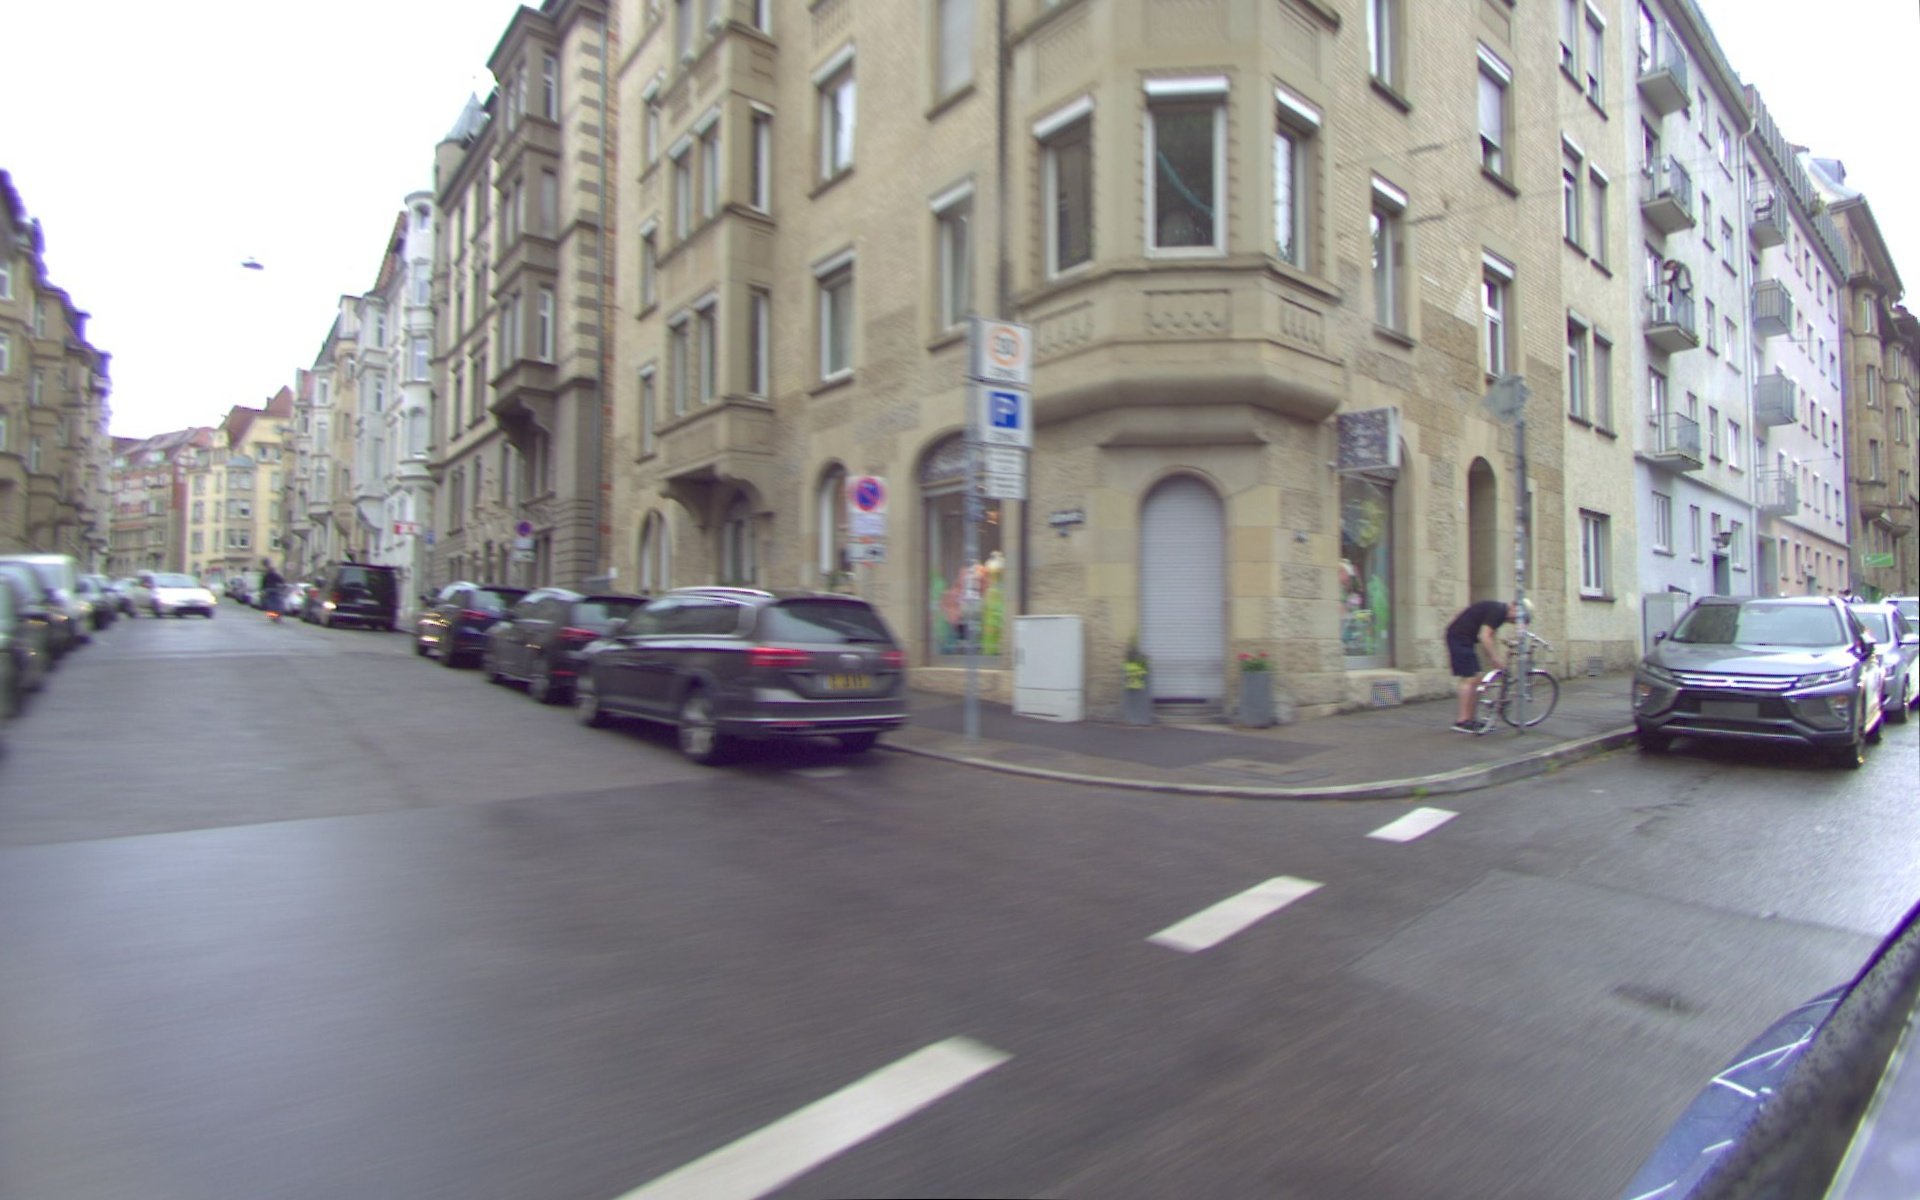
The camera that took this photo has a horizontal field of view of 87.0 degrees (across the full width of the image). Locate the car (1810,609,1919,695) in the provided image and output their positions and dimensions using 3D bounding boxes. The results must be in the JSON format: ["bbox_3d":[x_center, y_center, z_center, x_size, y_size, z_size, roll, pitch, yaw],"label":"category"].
[{"bbox_3d":[16.510,0.840,17.863,4.385,1.364,1.719,0,-2,-43],"label":"car"}]

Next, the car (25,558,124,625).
[{"bbox_3d":[-26.282,-0.195,30.177,1.877,1.724,4.310,0,-3,-37],"label":"car"}]

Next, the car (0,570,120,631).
[{"bbox_3d":[-23.042,-0.021,26.036,1.963,1.437,4.312,0,1,-37],"label":"car"}]

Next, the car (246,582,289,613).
[{"bbox_3d":[-40.009,-0.108,58.436,1.720,1.714,3.994,0,-1,-40],"label":"car"}]

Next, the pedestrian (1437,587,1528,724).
[{"bbox_3d":[5.540,0.562,10.736,0.631,1.387,0.671,0,-1,-42],"label":"pedestrian"}]

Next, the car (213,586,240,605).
[{"bbox_3d":[-65.746,-0.396,90.721,1.720,1.714,3.994,0,-1,-40],"label":"car"}]

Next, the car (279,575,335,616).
[{"bbox_3d":[-28.872,-0.176,44.689,1.719,1.714,3.996,0,-1,-38],"label":"car"}]

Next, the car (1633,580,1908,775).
[{"bbox_3d":[8.847,0.703,10.902,4.261,1.690,1.767,1,-2,-44],"label":"car"}]

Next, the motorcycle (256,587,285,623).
[{"bbox_3d":[-22.060,0.168,32.418,0.631,1.112,2.291,0,-1,-31],"label":"motorcycle"}]

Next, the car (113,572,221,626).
[{"bbox_3d":[-26.867,-0.028,34.268,3.974,1.728,1.851,-1,-1,36],"label":"car"}]

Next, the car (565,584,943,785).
[{"bbox_3d":[-2.243,0.620,9.932,1.830,1.503,4.462,1,0,-38],"label":"car"}]

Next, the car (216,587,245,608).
[{"bbox_3d":[-62.509,-0.183,86.735,1.720,1.714,3.994,0,-1,-40],"label":"car"}]

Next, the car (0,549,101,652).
[{"bbox_3d":[-17.312,0.008,18.609,1.964,1.700,4.311,-4,3,-37],"label":"car"}]

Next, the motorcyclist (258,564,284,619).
[{"bbox_3d":[-22.046,-0.251,32.386,0.631,1.731,0.934,0,-1,-31],"label":"motorcyclist"}]

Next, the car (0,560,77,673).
[{"bbox_3d":[-14.305,0.213,14.838,1.744,1.501,4.289,-2,2,-38],"label":"car"}]

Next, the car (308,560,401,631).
[{"bbox_3d":[-18.900,-0.124,31.497,1.963,2.039,4.324,0,-1,-38],"label":"car"}]

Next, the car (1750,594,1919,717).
[{"bbox_3d":[13.018,0.726,14.732,3.930,1.549,1.695,0,-1,-42],"label":"car"}]

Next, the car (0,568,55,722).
[{"bbox_3d":[-10.992,0.379,10.849,1.745,1.438,4.288,1,1,-40],"label":"car"}]

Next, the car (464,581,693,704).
[{"bbox_3d":[-5.464,0.485,14.175,1.830,1.461,4.138,1,0,-38],"label":"car"}]

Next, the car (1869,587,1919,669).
[{"bbox_3d":[22.476,0.618,23.212,4.387,1.773,1.831,1,-1,-40],"label":"car"}]

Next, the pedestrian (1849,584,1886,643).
[{"bbox_3d":[29.445,0.431,32.836,1.020,1.856,0.747,1,1,-40],"label":"pedestrian"}]

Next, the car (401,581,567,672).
[{"bbox_3d":[-8.721,0.405,18.366,1.830,1.461,4.138,1,0,-38],"label":"car"}]

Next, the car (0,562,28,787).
[{"bbox_3d":[-7.253,0.515,6.294,1.858,1.551,4.346,1,0,-39],"label":"car"}]

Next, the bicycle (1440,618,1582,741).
[{"bbox_3d":[5.829,0.779,10.652,2.091,1.149,0.622,0,-1,-41],"label":"bicycle"}]

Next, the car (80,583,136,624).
[{"bbox_3d":[-37.387,0.178,44.491,1.719,1.714,3.996,0,-1,-38],"label":"car"}]
